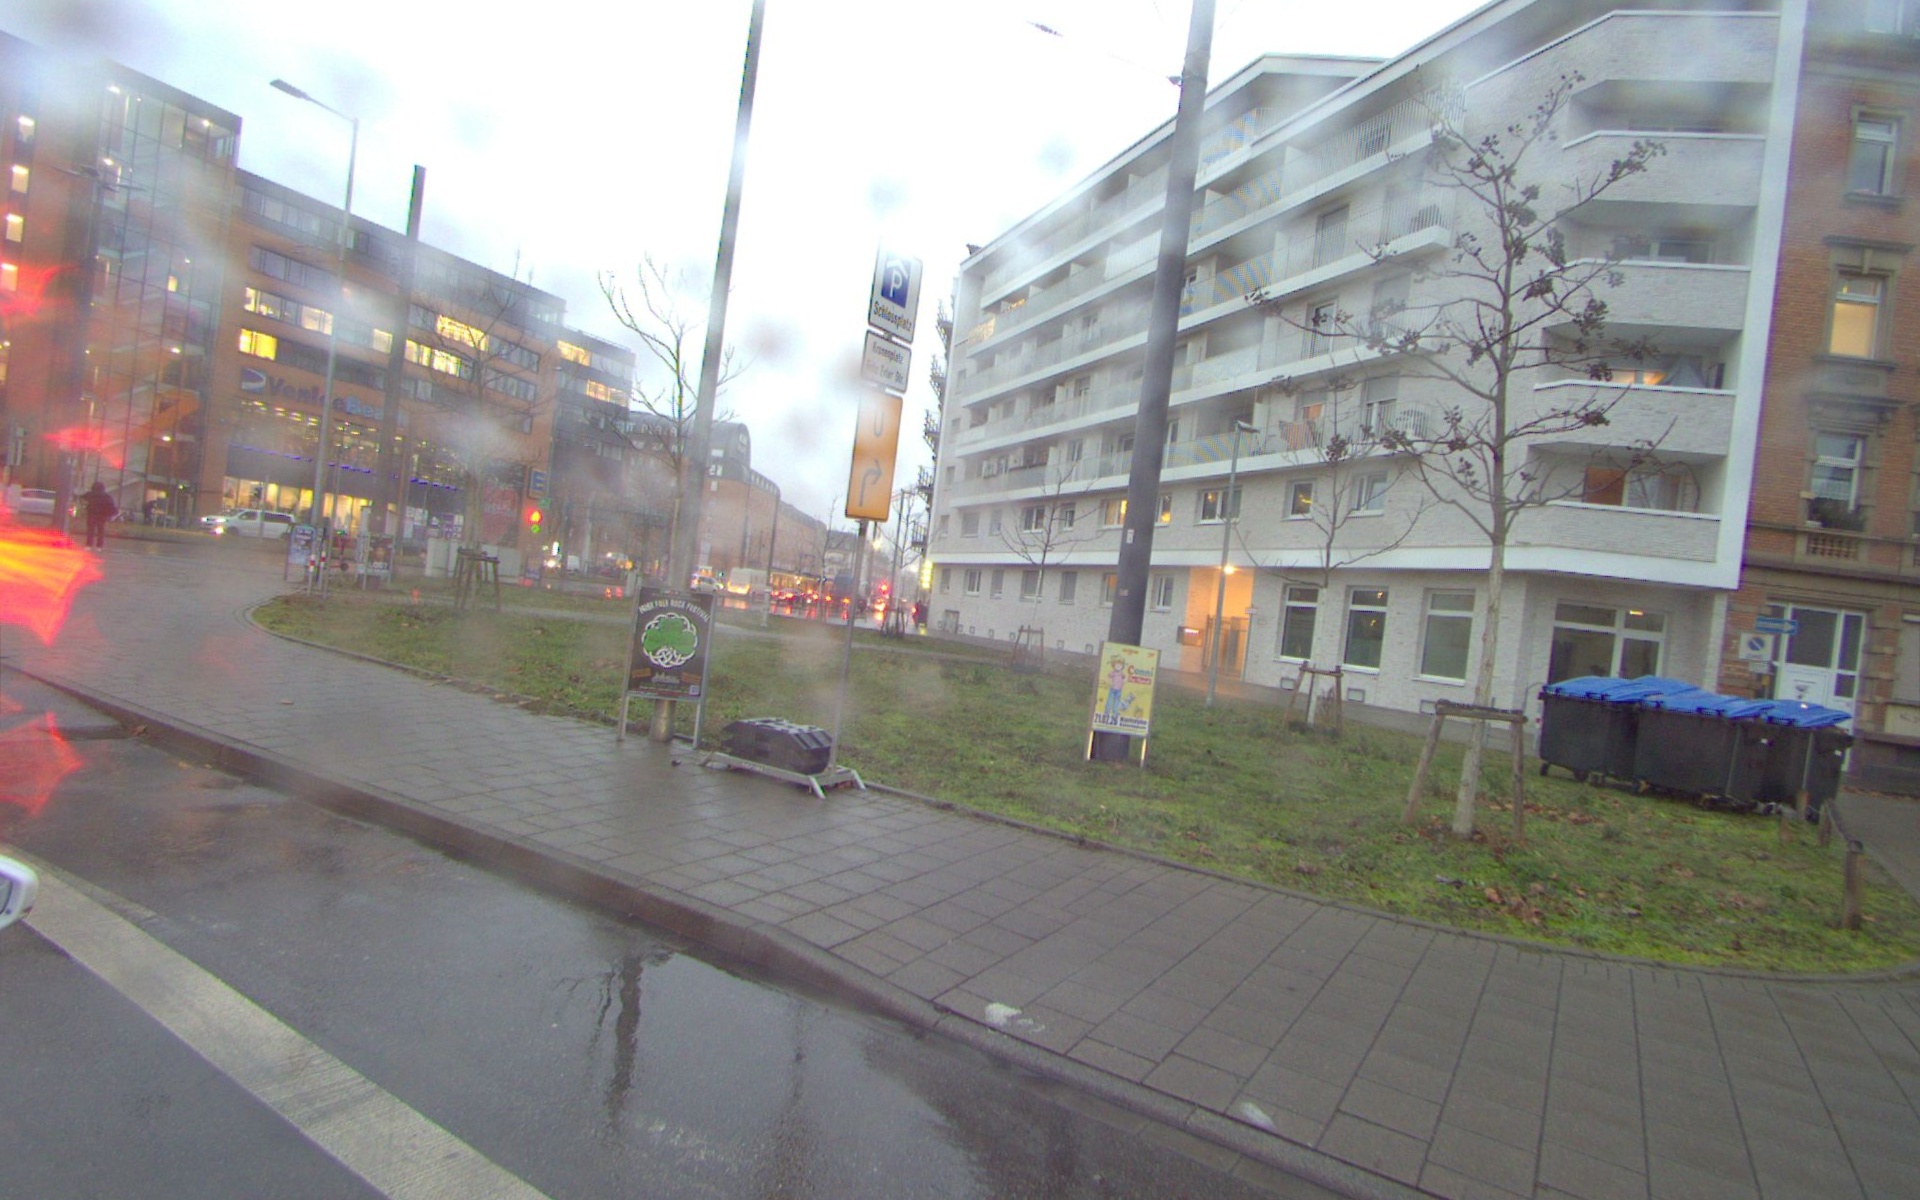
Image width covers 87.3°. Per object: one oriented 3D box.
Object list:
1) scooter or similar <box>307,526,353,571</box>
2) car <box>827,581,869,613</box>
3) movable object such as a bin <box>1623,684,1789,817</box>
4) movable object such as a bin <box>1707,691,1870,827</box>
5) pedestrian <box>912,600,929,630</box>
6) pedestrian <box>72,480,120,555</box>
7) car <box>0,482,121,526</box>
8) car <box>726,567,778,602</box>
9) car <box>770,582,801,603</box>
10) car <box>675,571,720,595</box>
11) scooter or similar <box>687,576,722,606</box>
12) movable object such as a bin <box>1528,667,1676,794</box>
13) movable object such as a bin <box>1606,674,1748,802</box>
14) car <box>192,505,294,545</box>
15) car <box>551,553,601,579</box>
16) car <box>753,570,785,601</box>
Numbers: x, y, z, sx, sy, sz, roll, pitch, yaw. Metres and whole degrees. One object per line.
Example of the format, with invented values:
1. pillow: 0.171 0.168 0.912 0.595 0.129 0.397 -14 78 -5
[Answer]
1. scooter or similar: -18.677 -1.513 29.838 0.327 1.221 1.309 7 0 4
2. car: -11.949 -0.268 107.793 2.317 2.860 6.364 7 -1 12
3. movable object such as a bin: 9.604 1.920 12.995 1.038 1.450 1.220 7 0 -19
4. movable object such as a bin: 10.733 2.047 13.069 1.038 1.503 1.135 7 0 -19
5. pedestrian: -2.329 0.880 59.349 0.624 1.652 0.718 7 1 -20
6. pedestrian: -23.320 -2.214 27.163 0.768 1.901 0.629 6 1 -36
7. car: -46.640 -4.932 52.206 1.833 1.504 4.338 7 -1 25
8. car: -17.420 -1.265 84.742 1.962 2.456 5.978 7 -1 10
9. car: -15.787 -0.627 91.353 1.494 1.538 3.474 7 -1 11
10. car: -19.864 -1.265 76.306 1.613 1.514 3.686 7 0 14
11. scooter or similar: -12.361 -0.443 48.731 0.658 1.241 1.556 7 -2 26
12. movable object such as a bin: 9.034 1.814 14.200 1.038 1.529 1.247 7 0 -19
13. movable object such as a bin: 10.345 1.976 14.554 1.038 1.595 1.135 7 0 -19
14. car: -43.055 -4.463 60.553 1.754 1.698 4.651 7 -1 22
15. car: -34.252 -3.010 89.926 1.893 1.740 4.613 7 -1 10
16. car: -20.277 -1.511 107.037 2.321 2.861 6.355 7 -1 -5
